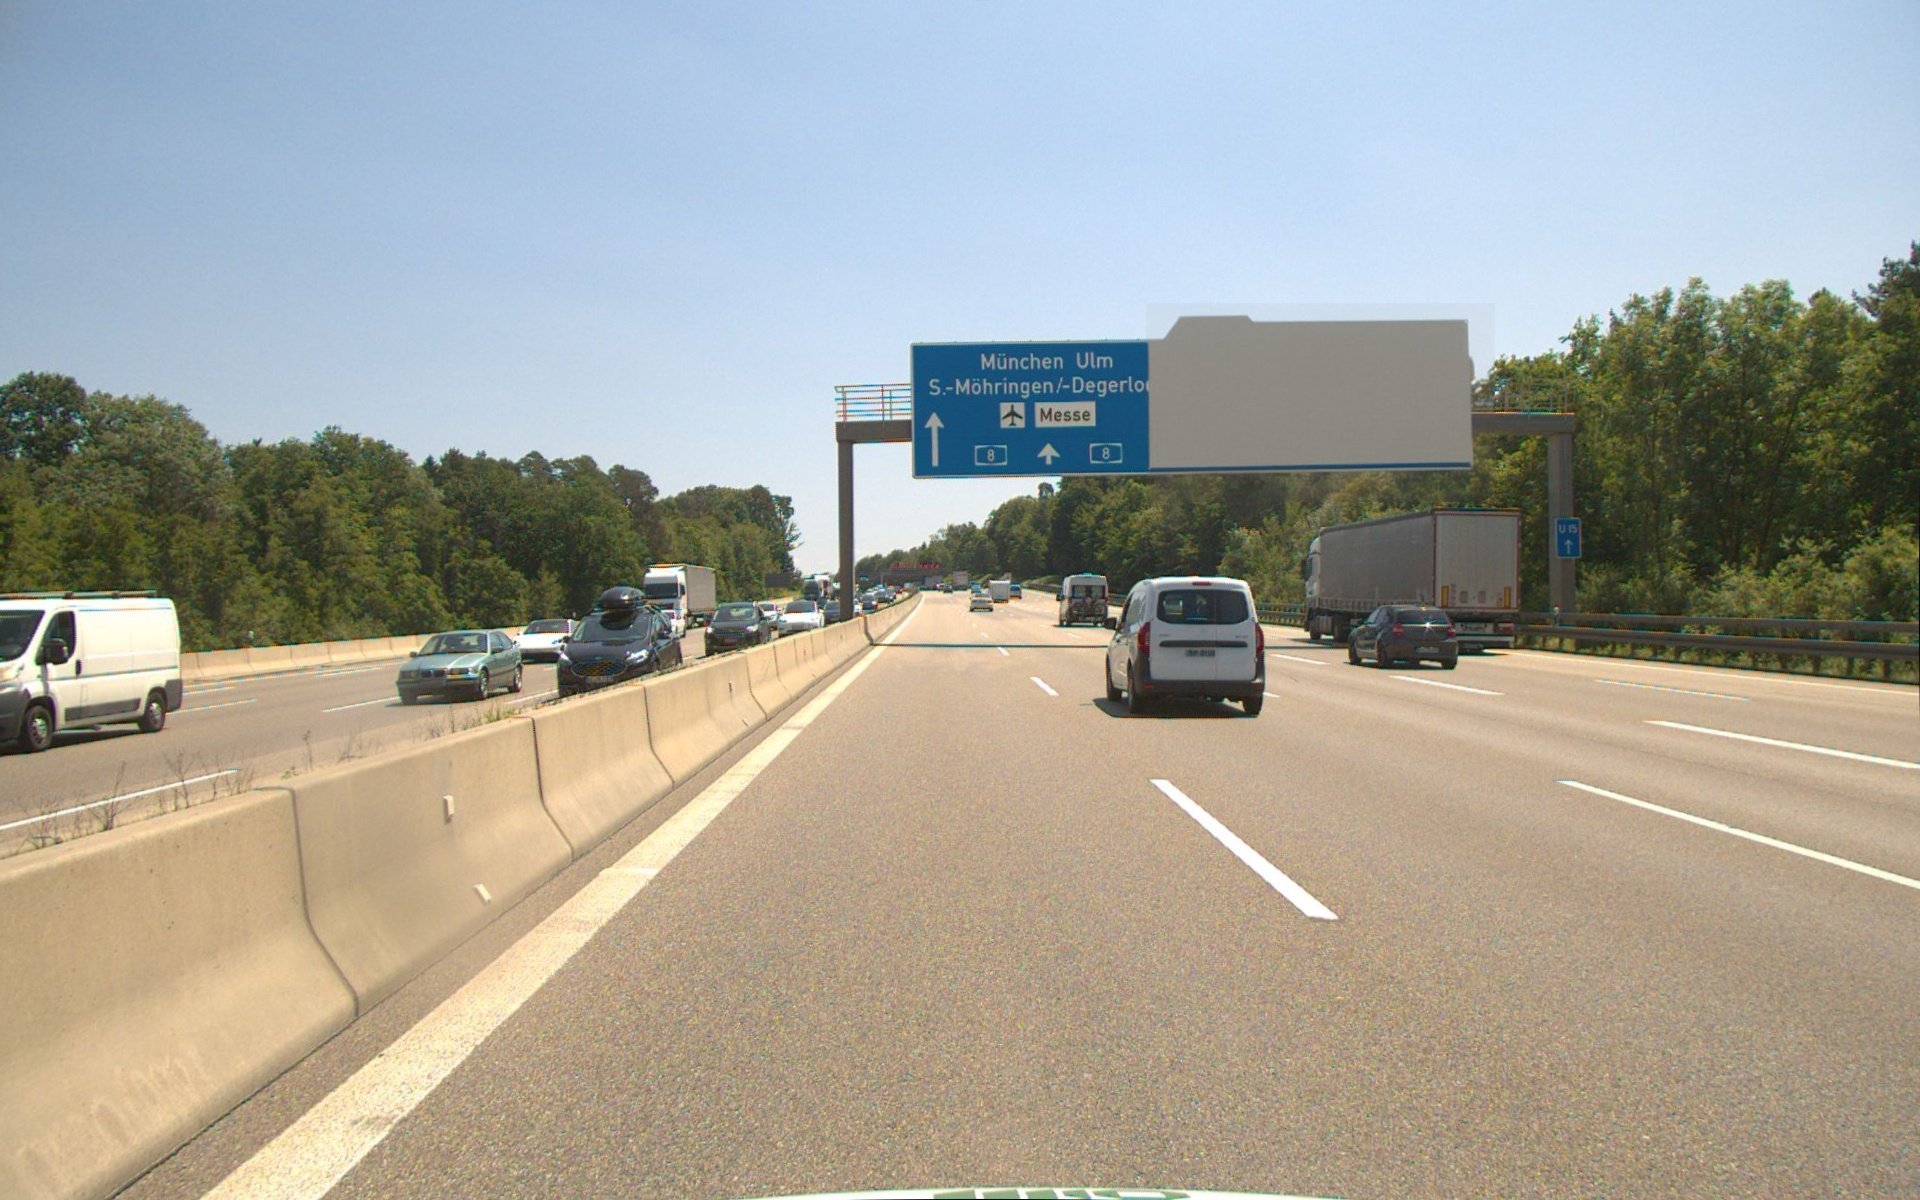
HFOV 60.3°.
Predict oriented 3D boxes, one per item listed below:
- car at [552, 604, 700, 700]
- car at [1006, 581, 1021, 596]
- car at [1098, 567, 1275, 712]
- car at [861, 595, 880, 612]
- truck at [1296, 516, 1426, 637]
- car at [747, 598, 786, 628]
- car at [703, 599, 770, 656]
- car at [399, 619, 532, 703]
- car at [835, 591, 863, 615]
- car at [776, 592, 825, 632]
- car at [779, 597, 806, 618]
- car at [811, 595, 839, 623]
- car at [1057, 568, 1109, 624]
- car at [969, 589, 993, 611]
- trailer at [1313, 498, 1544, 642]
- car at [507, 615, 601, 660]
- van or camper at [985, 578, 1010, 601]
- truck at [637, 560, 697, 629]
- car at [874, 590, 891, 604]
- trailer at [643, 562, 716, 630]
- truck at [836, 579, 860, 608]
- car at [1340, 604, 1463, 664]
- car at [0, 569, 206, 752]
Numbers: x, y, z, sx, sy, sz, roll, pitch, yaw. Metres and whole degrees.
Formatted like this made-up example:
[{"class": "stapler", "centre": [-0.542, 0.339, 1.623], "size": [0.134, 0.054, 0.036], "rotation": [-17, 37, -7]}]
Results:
[{"class": "car", "centre": [-6.458, 0.943, 32.564], "size": [1.832, 1.634, 5.227], "rotation": [-2, 0, -1]}, {"class": "car", "centre": [7.073, -1.473, 217.707], "size": [1.783, 1.892, 3.999], "rotation": [-1, 0, -1]}, {"class": "car", "centre": [3.104, 0.527, 23.590], "size": [1.822, 1.858, 4.611], "rotation": [0, 0, -1]}, {"class": "car", "centre": [-8.461, 0.292, 156.385], "size": [1.689, 1.564, 5.052], "rotation": [-1, 0, -3]}, {"class": "truck", "centre": [14.464, -0.827, 60.086], "size": [3.188, 4.178, 5.986], "rotation": [0, 0, -1]}, {"class": "car", "centre": [-11.112, 0.712, 95.142], "size": [1.781, 1.617, 4.880], "rotation": [-2, 0, -2]}, {"class": "car", "centre": [-7.197, 0.845, 53.570], "size": [1.719, 1.702, 4.202], "rotation": [-2, 0, -2]}, {"class": "car", "centre": [-10.000, 1.194, 33.714], "size": [1.517, 1.480, 3.839], "rotation": [-3, 0, -1]}, {"class": "car", "centre": [-8.230, 0.192, 123.052], "size": [1.809, 1.577, 5.213], "rotation": [-4, 1, -2]}, {"class": "car", "centre": [-7.193, 0.526, 75.051], "size": [1.775, 1.702, 4.475], "rotation": [-2, 0, -1]}, {"class": "car", "centre": [-11.781, 0.509, 116.484], "size": [1.517, 1.467, 4.723], "rotation": [-1, 0, -2]}, {"class": "car", "centre": [-7.990, 0.528, 98.338], "size": [1.506, 1.577, 4.067], "rotation": [-2, 0, -3]}, {"class": "car", "centre": [6.114, -0.228, 83.095], "size": [2.100, 2.698, 5.709], "rotation": [-1, 0, -1]}, {"class": "car", "centre": [1.719, 0.005, 135.009], "size": [1.805, 1.657, 4.553], "rotation": [-2, -1, 0]}, {"class": "trailer", "centre": [14.623, -0.891, 53.313], "size": [3.221, 3.999, 13.887], "rotation": [0, 0, -1]}, {"class": "car", "centre": [-13.594, 1.231, 55.677], "size": [1.952, 1.329, 4.844], "rotation": [-2, 0, -1]}, {"class": "van or camper", "centre": [4.255, -1.195, 190.476], "size": [2.591, 2.583, 6.500], "rotation": [-2, 0, -1]}, {"class": "truck", "centre": [-18.952, -0.312, 107.227], "size": [2.704, 4.294, 6.376], "rotation": [-2, -1, -1]}, {"class": "car", "centre": [-9.609, -0.407, 204.684], "size": [1.953, 1.646, 3.999], "rotation": [-2, 0, -1]}, {"class": "trailer", "centre": [-19.048, -0.174, 113.234], "size": [2.699, 4.320, 13.715], "rotation": [-2, -1, -1]}, {"class": "truck", "centre": [-11.923, -0.707, 176.584], "size": [2.094, 2.887, 7.668], "rotation": [-2, 0, -1]}, {"class": "car", "centre": [10.139, 0.749, 38.266], "size": [1.636, 1.296, 4.289], "rotation": [1, 0, -1]}, {"class": "car", "centre": [-13.831, 0.894, 24.912], "size": [1.891, 2.455, 6.624], "rotation": [-3, -1, -1]}]
